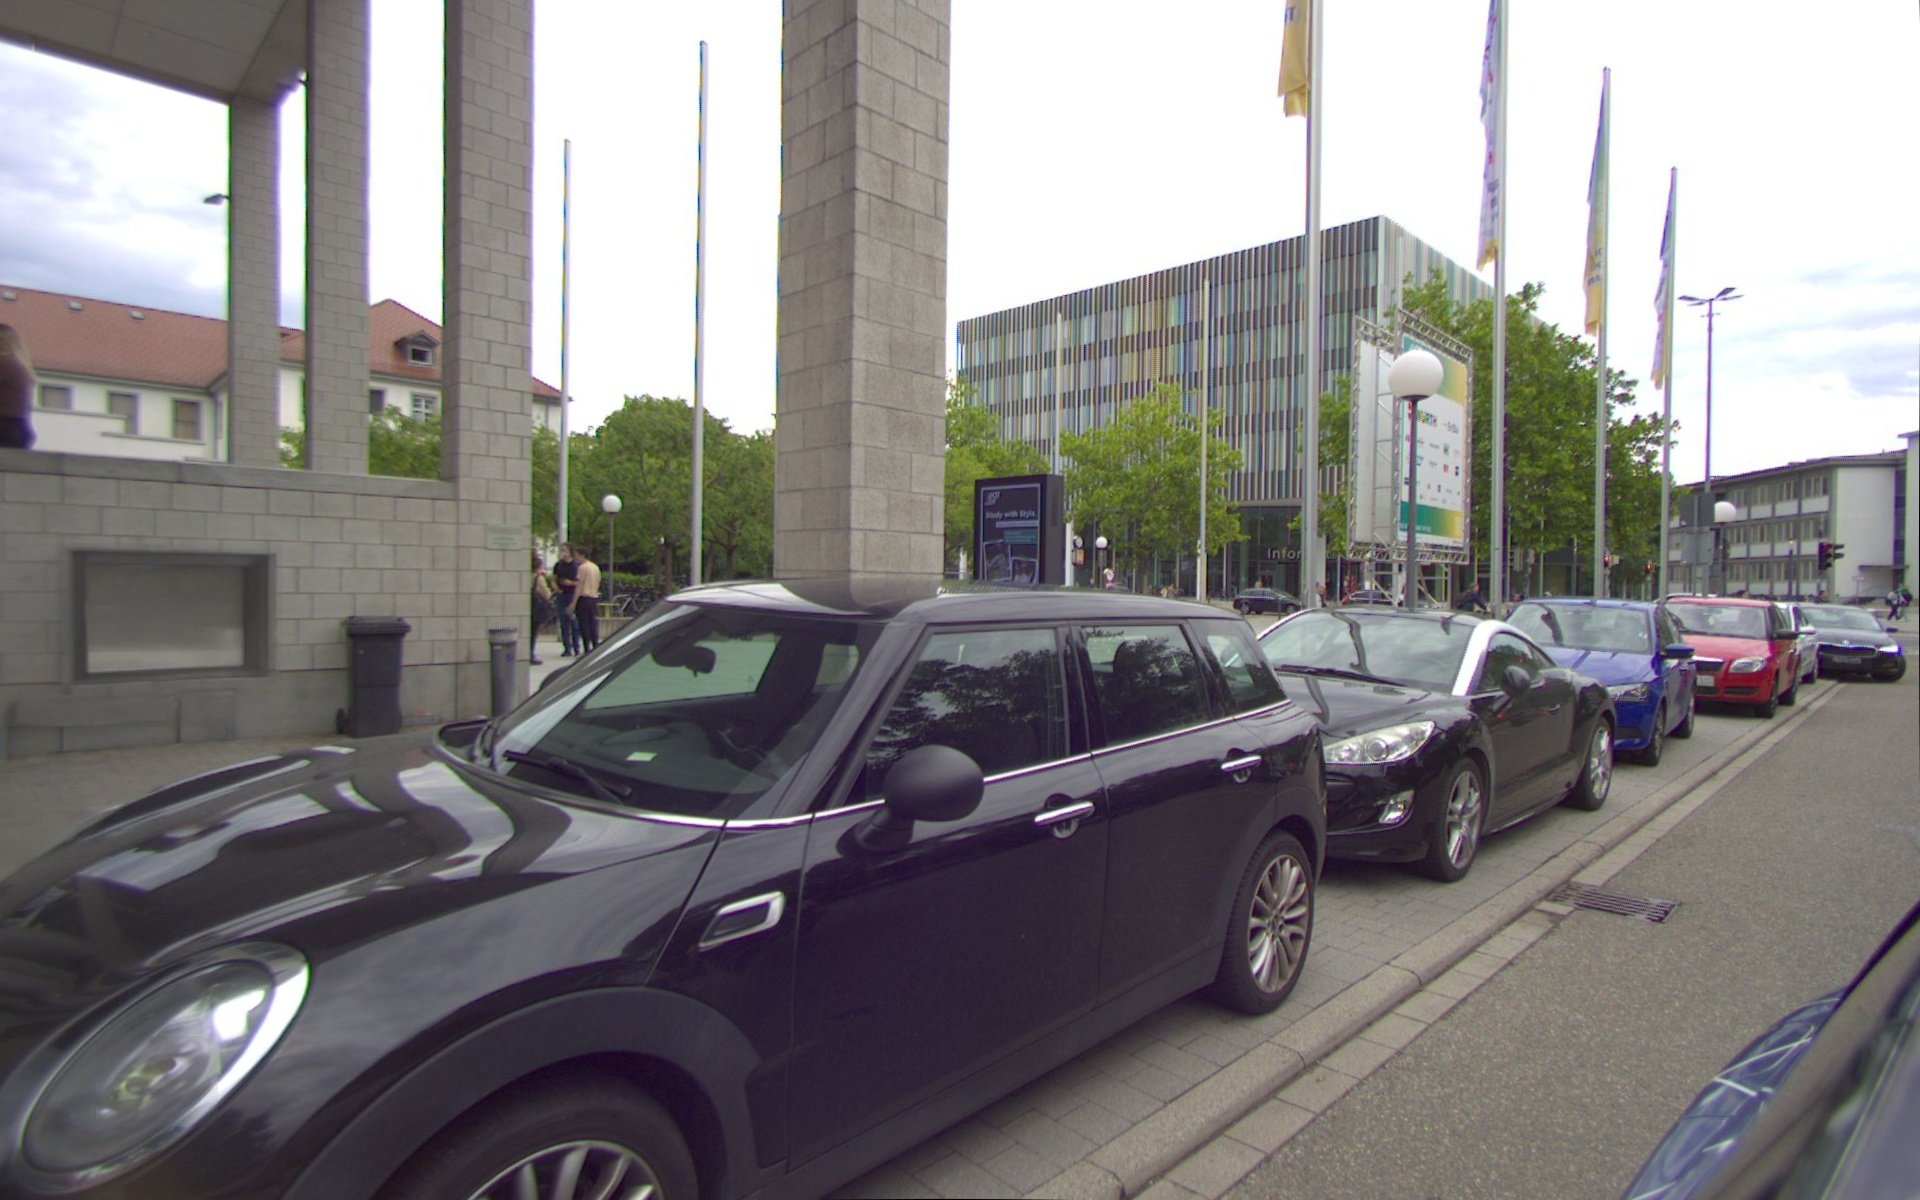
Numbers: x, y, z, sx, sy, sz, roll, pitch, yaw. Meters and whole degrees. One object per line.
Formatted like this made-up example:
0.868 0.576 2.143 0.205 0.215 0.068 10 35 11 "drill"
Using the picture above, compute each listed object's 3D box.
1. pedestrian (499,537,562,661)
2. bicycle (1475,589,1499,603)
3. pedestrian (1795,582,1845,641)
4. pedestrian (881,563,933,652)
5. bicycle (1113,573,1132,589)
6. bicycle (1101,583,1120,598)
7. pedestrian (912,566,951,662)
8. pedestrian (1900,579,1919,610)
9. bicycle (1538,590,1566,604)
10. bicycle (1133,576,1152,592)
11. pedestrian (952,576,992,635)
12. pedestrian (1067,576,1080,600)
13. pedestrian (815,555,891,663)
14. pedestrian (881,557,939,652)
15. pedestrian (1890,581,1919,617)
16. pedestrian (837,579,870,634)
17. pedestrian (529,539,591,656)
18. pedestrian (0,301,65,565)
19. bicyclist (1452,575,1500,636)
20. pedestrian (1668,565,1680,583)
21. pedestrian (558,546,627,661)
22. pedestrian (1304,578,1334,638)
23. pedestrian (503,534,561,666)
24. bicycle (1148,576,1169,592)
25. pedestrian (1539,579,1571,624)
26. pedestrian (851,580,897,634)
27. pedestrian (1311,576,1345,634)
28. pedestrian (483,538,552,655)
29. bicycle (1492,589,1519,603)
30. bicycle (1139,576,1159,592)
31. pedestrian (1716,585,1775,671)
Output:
-6.236 -0.020 14.695 0.593 1.737 0.777 1 0 -44 "pedestrian"
37.679 -0.303 72.392 0.537 0.947 2.012 0 2 -5 "bicycle"
24.497 0.323 28.829 1.040 1.640 0.647 1 1 43 "pedestrian"
-1.034 0.130 19.767 0.693 1.690 0.756 0 1 -43 "pedestrian"
14.494 -1.686 90.076 0.626 1.275 2.071 0 -3 43 "bicycle"
13.469 -0.839 90.594 0.626 1.274 2.071 1 1 43 "bicycle"
-0.530 0.244 18.628 0.634 1.734 0.783 1 1 -7 "pedestrian"
54.194 -0.331 57.515 0.889 1.736 0.951 0 1 -37 "pedestrian"
42.219 -0.197 72.158 0.474 0.947 2.014 0 2 -13 "bicycle"
15.979 -1.410 88.575 0.626 1.275 2.071 0 -3 43 "bicycle"
0.367 0.163 30.529 0.844 1.725 0.960 2 1 27 "pedestrian"
8.649 -0.901 76.986 0.795 1.832 0.588 0 1 -41 "pedestrian"
-1.702 0.154 16.100 0.914 1.662 0.736 3 -3 -39 "pedestrian"
-0.957 0.077 19.256 0.680 1.734 0.910 4 -1 -28 "pedestrian"
48.522 -0.052 51.878 0.830 1.810 0.894 1 1 3 "pedestrian"
-2.829 0.155 26.843 0.663 1.431 0.766 0 1 14 "pedestrian"
-6.623 -0.063 16.765 0.770 1.888 0.599 1 1 22 "pedestrian"
-6.670 -1.106 6.829 0.618 1.680 0.808 2 -2 -20 "pedestrian"
14.438 0.139 28.331 0.851 1.662 0.876 1 0 -2 "bicyclist"
71.063 -2.585 100.729 0.766 1.811 0.757 1 1 18 "pedestrian"
-5.937 0.045 16.345 0.758 1.807 0.728 1 1 32 "pedestrian"
10.932 0.260 30.832 0.575 1.739 0.656 7 -8 -42 "pedestrian"
-6.213 0.012 14.692 0.610 1.865 0.591 2 -4 -44 "pedestrian"
17.206 -1.406 87.517 2.067 1.275 0.627 3 -2 -40 "bicycle"
22.371 0.077 38.041 0.778 1.648 0.758 3 -2 -33 "pedestrian"
-2.366 0.170 27.746 0.846 1.438 0.957 1 1 34 "pedestrian"
11.471 0.171 31.549 0.666 1.739 0.672 6 -9 -38 "pedestrian"
-7.031 -0.066 16.080 0.716 1.807 0.729 1 1 32 "pedestrian"
38.762 -0.282 71.883 0.474 0.947 2.014 0 2 -13 "bicycle"
16.479 -1.408 88.138 0.626 1.275 2.071 0 -3 43 "bicycle"
17.055 0.589 21.978 0.805 1.810 0.794 0 1 -33 "pedestrian"
